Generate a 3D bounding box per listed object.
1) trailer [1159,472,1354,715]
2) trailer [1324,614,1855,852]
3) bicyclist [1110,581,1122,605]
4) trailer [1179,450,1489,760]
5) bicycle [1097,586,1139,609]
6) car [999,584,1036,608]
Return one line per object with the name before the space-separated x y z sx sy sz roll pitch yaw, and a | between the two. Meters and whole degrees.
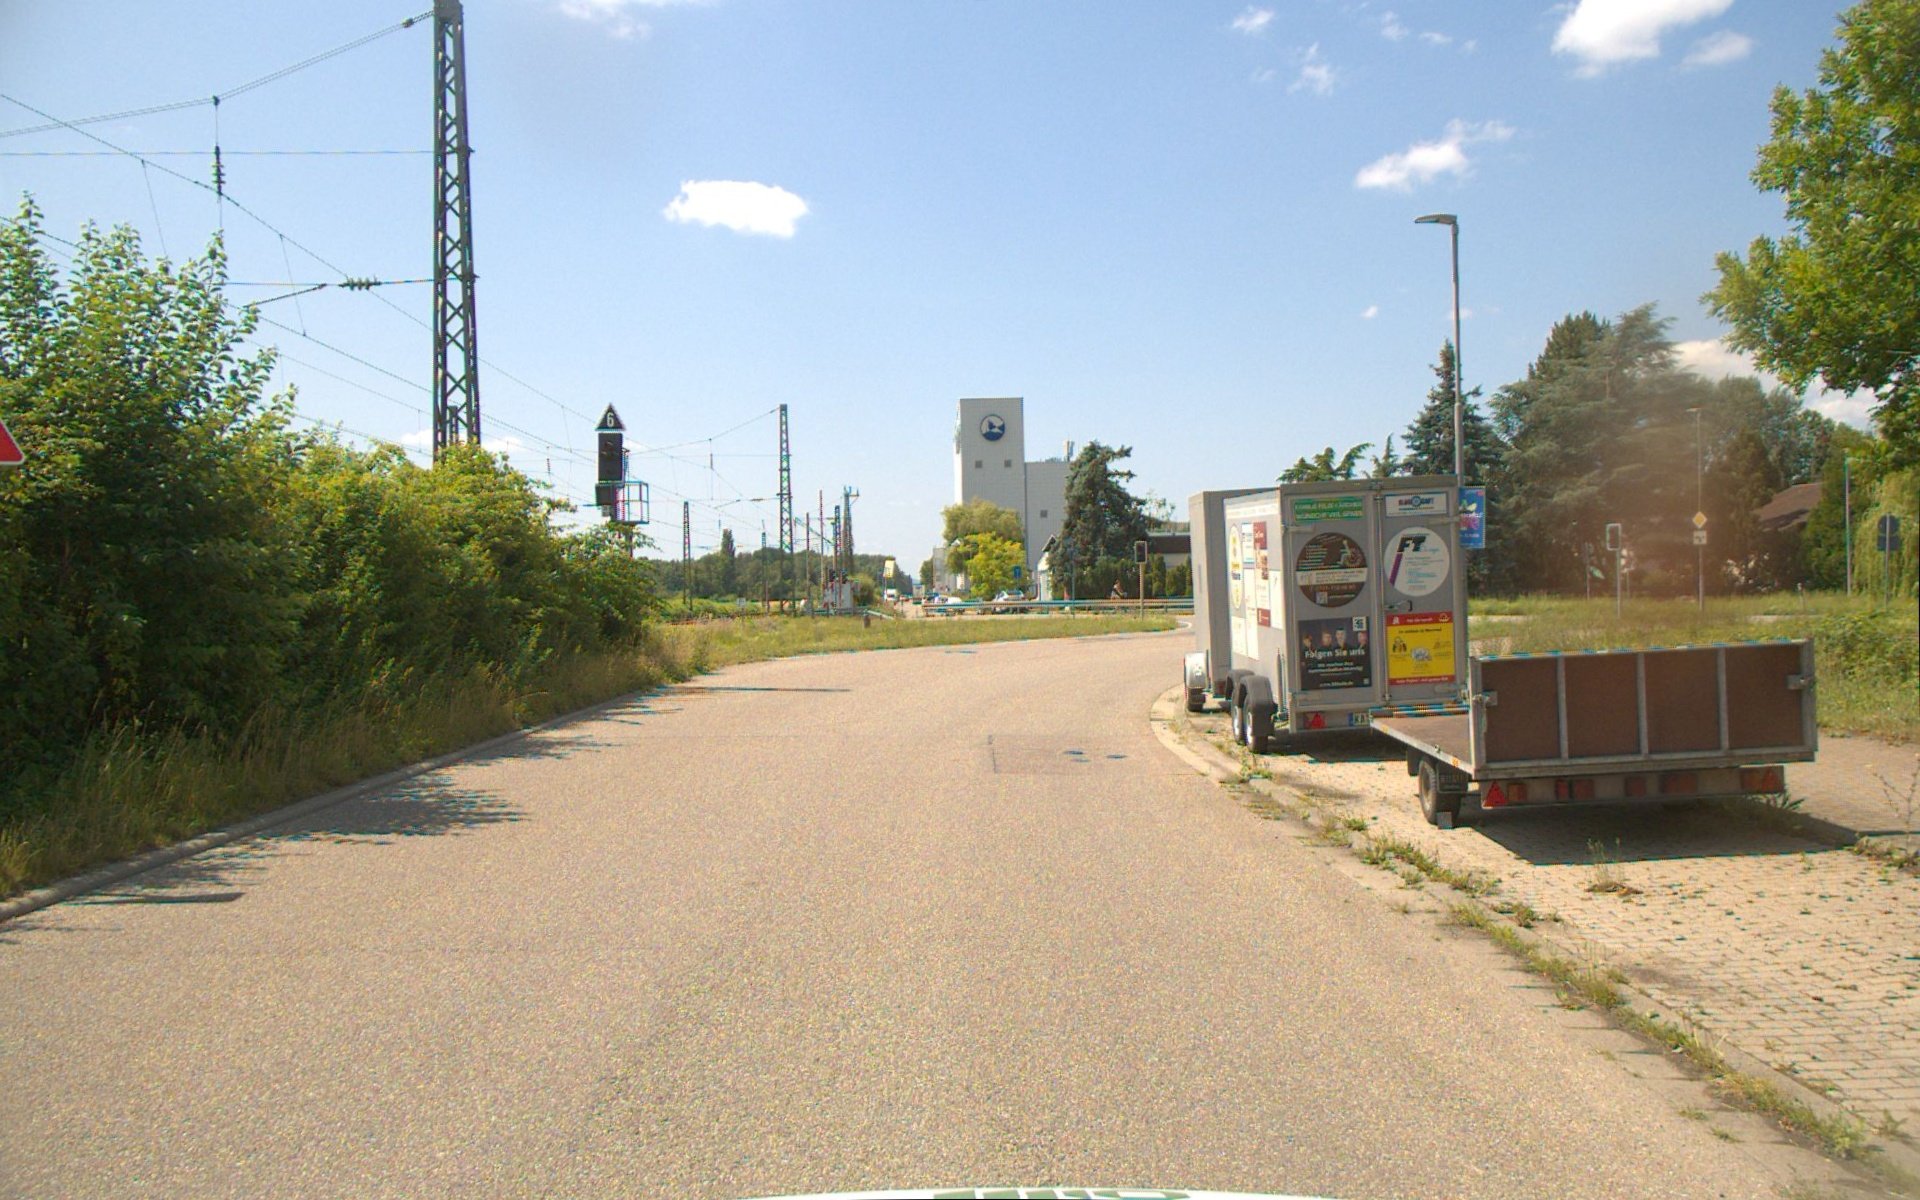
trailer | 3.752 -0.103 21.777 1.892 2.690 5.187 -4 0 5
trailer | 3.906 0.742 11.227 1.963 1.142 4.490 -4 0 2
bicyclist | 8.340 -0.385 88.340 0.500 1.277 0.469 -1 0 25
trailer | 3.550 0.026 16.678 1.880 2.551 4.740 -4 0 0
bicycle | 8.432 -0.130 88.313 2.097 1.185 0.661 -1 0 26
car | 3.960 -0.295 114.582 1.955 1.536 4.448 -2 0 -6
